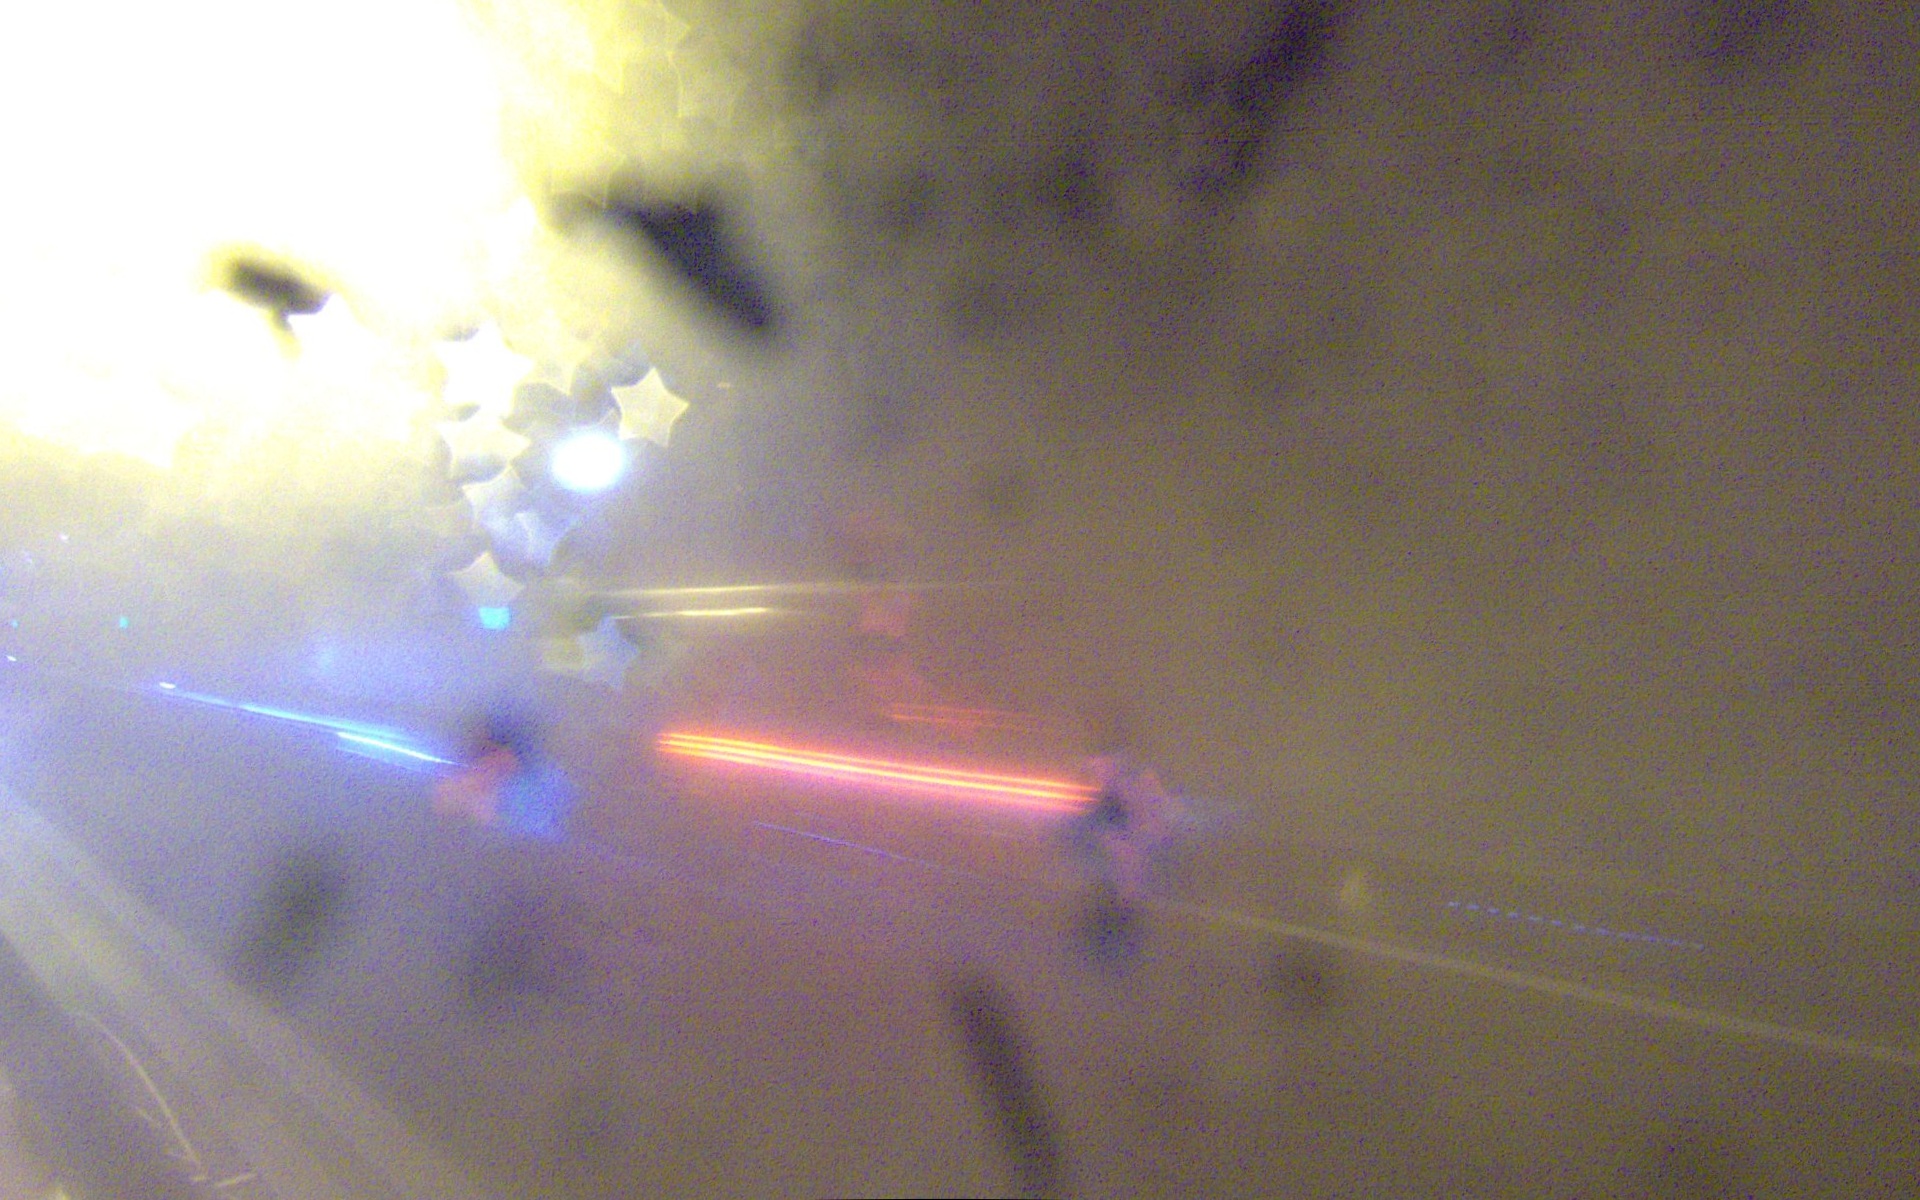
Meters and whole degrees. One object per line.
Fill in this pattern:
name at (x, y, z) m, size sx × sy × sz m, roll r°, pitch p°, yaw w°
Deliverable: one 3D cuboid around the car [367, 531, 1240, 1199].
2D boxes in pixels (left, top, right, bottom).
car at (-0.892, 0.673, 4.132) m, size 3.583 × 1.625 × 1.607 m, roll -1°, pitch -1°, yaw 41°
